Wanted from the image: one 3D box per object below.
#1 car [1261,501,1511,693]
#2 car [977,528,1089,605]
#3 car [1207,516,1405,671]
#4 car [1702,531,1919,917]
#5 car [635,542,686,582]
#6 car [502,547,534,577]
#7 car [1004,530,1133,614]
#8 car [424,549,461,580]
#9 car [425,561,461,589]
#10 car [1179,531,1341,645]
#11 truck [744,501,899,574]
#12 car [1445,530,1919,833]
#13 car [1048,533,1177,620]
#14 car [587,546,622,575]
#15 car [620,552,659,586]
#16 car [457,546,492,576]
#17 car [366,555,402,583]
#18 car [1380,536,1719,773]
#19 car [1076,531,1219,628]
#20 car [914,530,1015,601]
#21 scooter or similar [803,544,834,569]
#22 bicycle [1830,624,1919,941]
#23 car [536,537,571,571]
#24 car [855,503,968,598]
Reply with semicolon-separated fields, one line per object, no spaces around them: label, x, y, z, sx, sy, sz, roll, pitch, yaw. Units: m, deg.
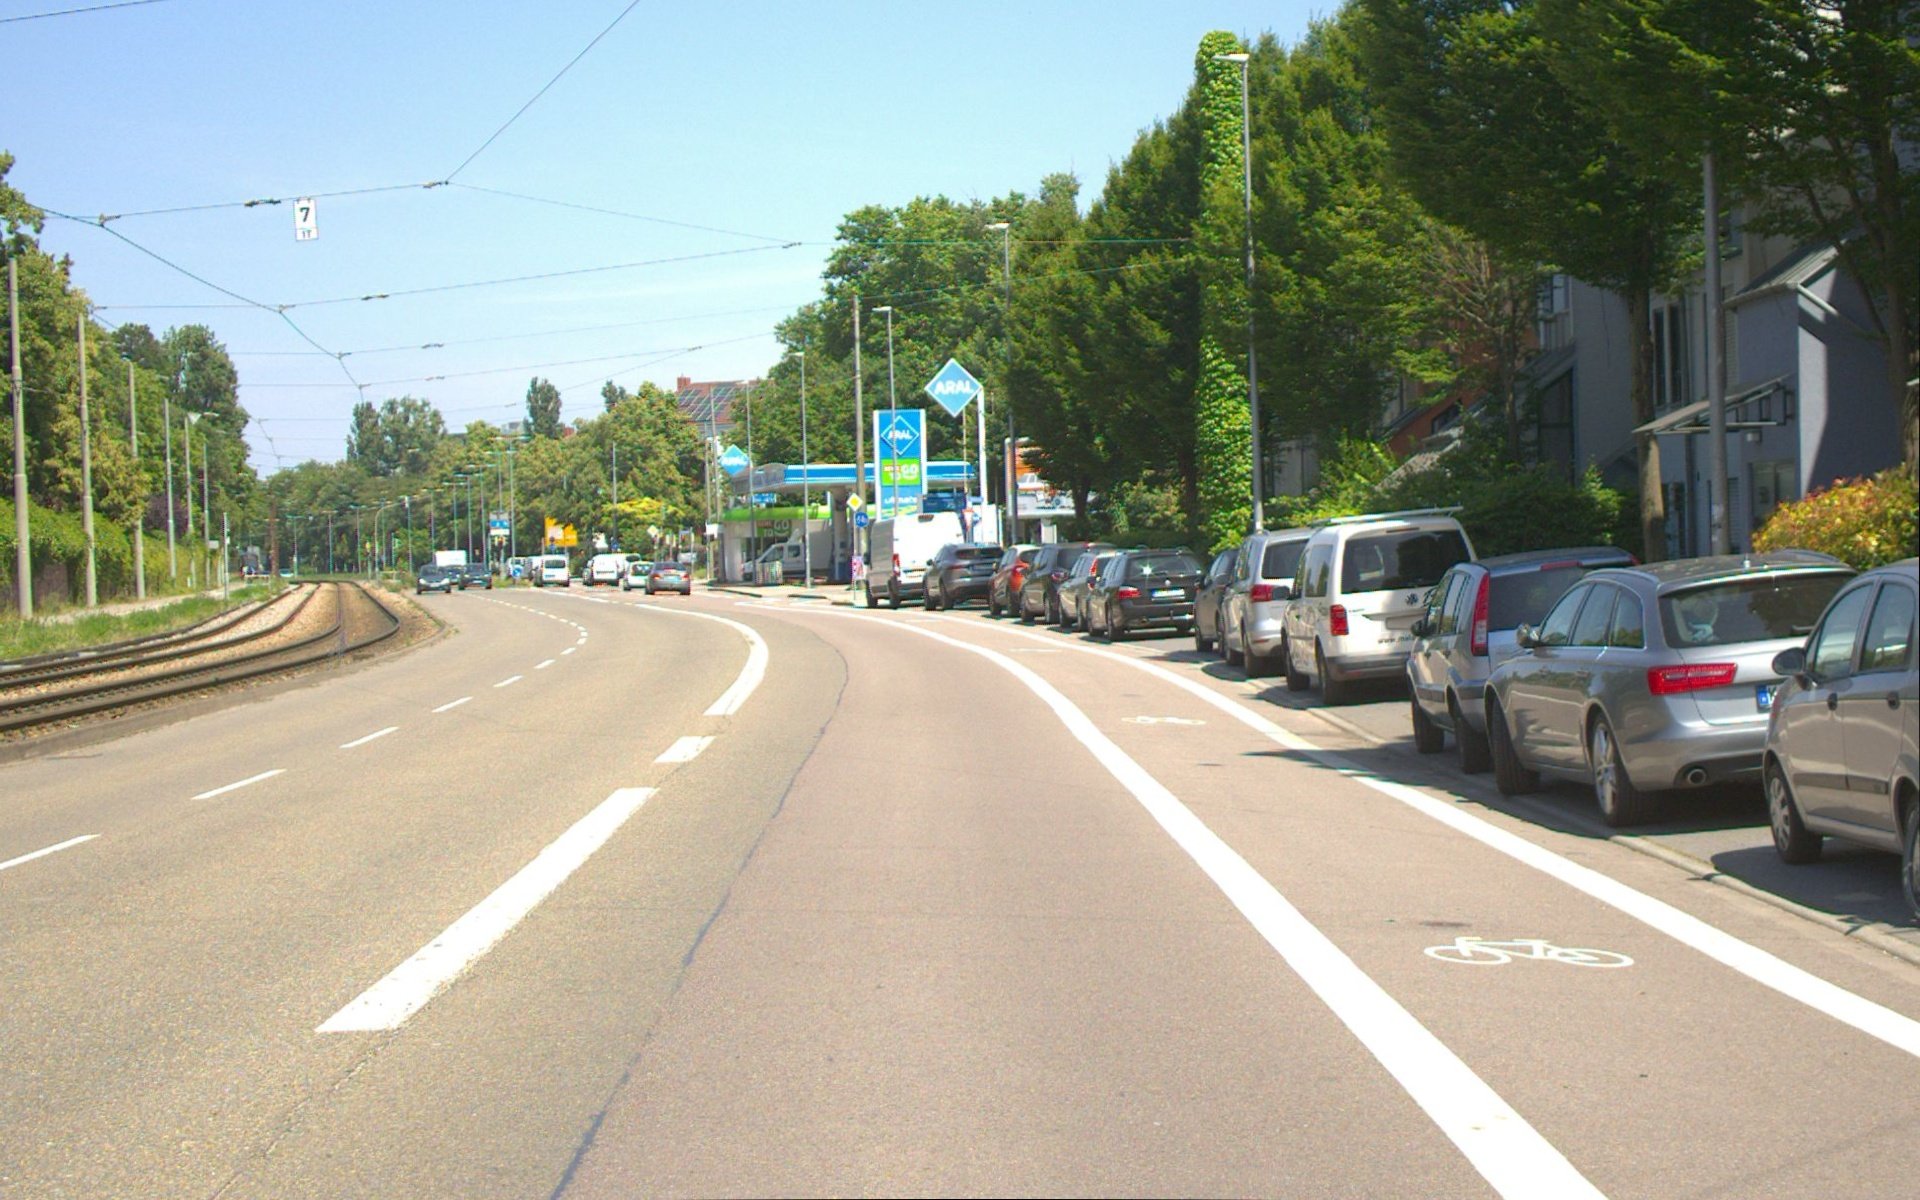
car;4.393;-0.077;36.080;1.840;1.787;4.354;-4;1;-2
car;1.585;-0.753;76.206;1.706;1.557;4.325;-4;1;-8
car;4.181;-0.138;42.264;1.840;1.688;4.779;-4;1;0
car;4.702;0.471;16.099;1.519;1.524;3.817;-4;1;0
car;-13.014;-1.664;149.289;1.755;1.625;4.325;-4;1;-10
car;-25.913;-2.216;201.483;1.755;1.625;4.325;-4;1;-8
car;2.179;-0.586;70.294;1.706;1.557;4.325;-4;1;-10
car;-26.717;-1.839;177.467;1.755;1.504;4.325;-4;1;-10
car;-33.427;-1.619;222.395;1.755;1.625;4.325;-4;1;-15
car;4.111;-0.200;47.630;1.583;1.418;4.181;-4;1;-3
truck;-7.284;-3.290;180.223;7.967;3.590;2.663;-1;1;-3
car;4.421;0.387;21.106;1.840;1.524;4.967;-4;1;-3
car;2.828;-0.471;64.762;1.706;1.487;4.732;-4;1;-5
car;-21.292;-2.363;205.870;1.755;1.625;4.325;-4;1;-10
car;-16.660;-1.626;178.557;1.755;1.625;4.325;-4;1;-8
car;-27.820;-2.250;197.009;1.755;1.625;4.325;-4;1;-10
car;-36.125;-1.957;215.505;1.755;1.625;4.325;-4;1;-15
car;4.379;0.343;26.143;1.841;1.524;4.216;-3;1;1
car;3.178;-0.384;59.117;1.706;1.487;5.039;-4;1;-4
car;0.085;-0.870;86.178;1.755;1.625;4.325;-4;1;-10
scooter or similar;-7.579;-2.330;184.235;1.552;1.323;0.537;-1;1;-10
bicycle;4.579;0.663;14.063;1.774;1.224;0.683;-6;1;4
car;-23.917;-2.701;202.277;1.755;1.868;4.325;-4;1;-10
car;-1.411;-1.386;96.284;2.000;2.448;6.111;-4;1;-10
